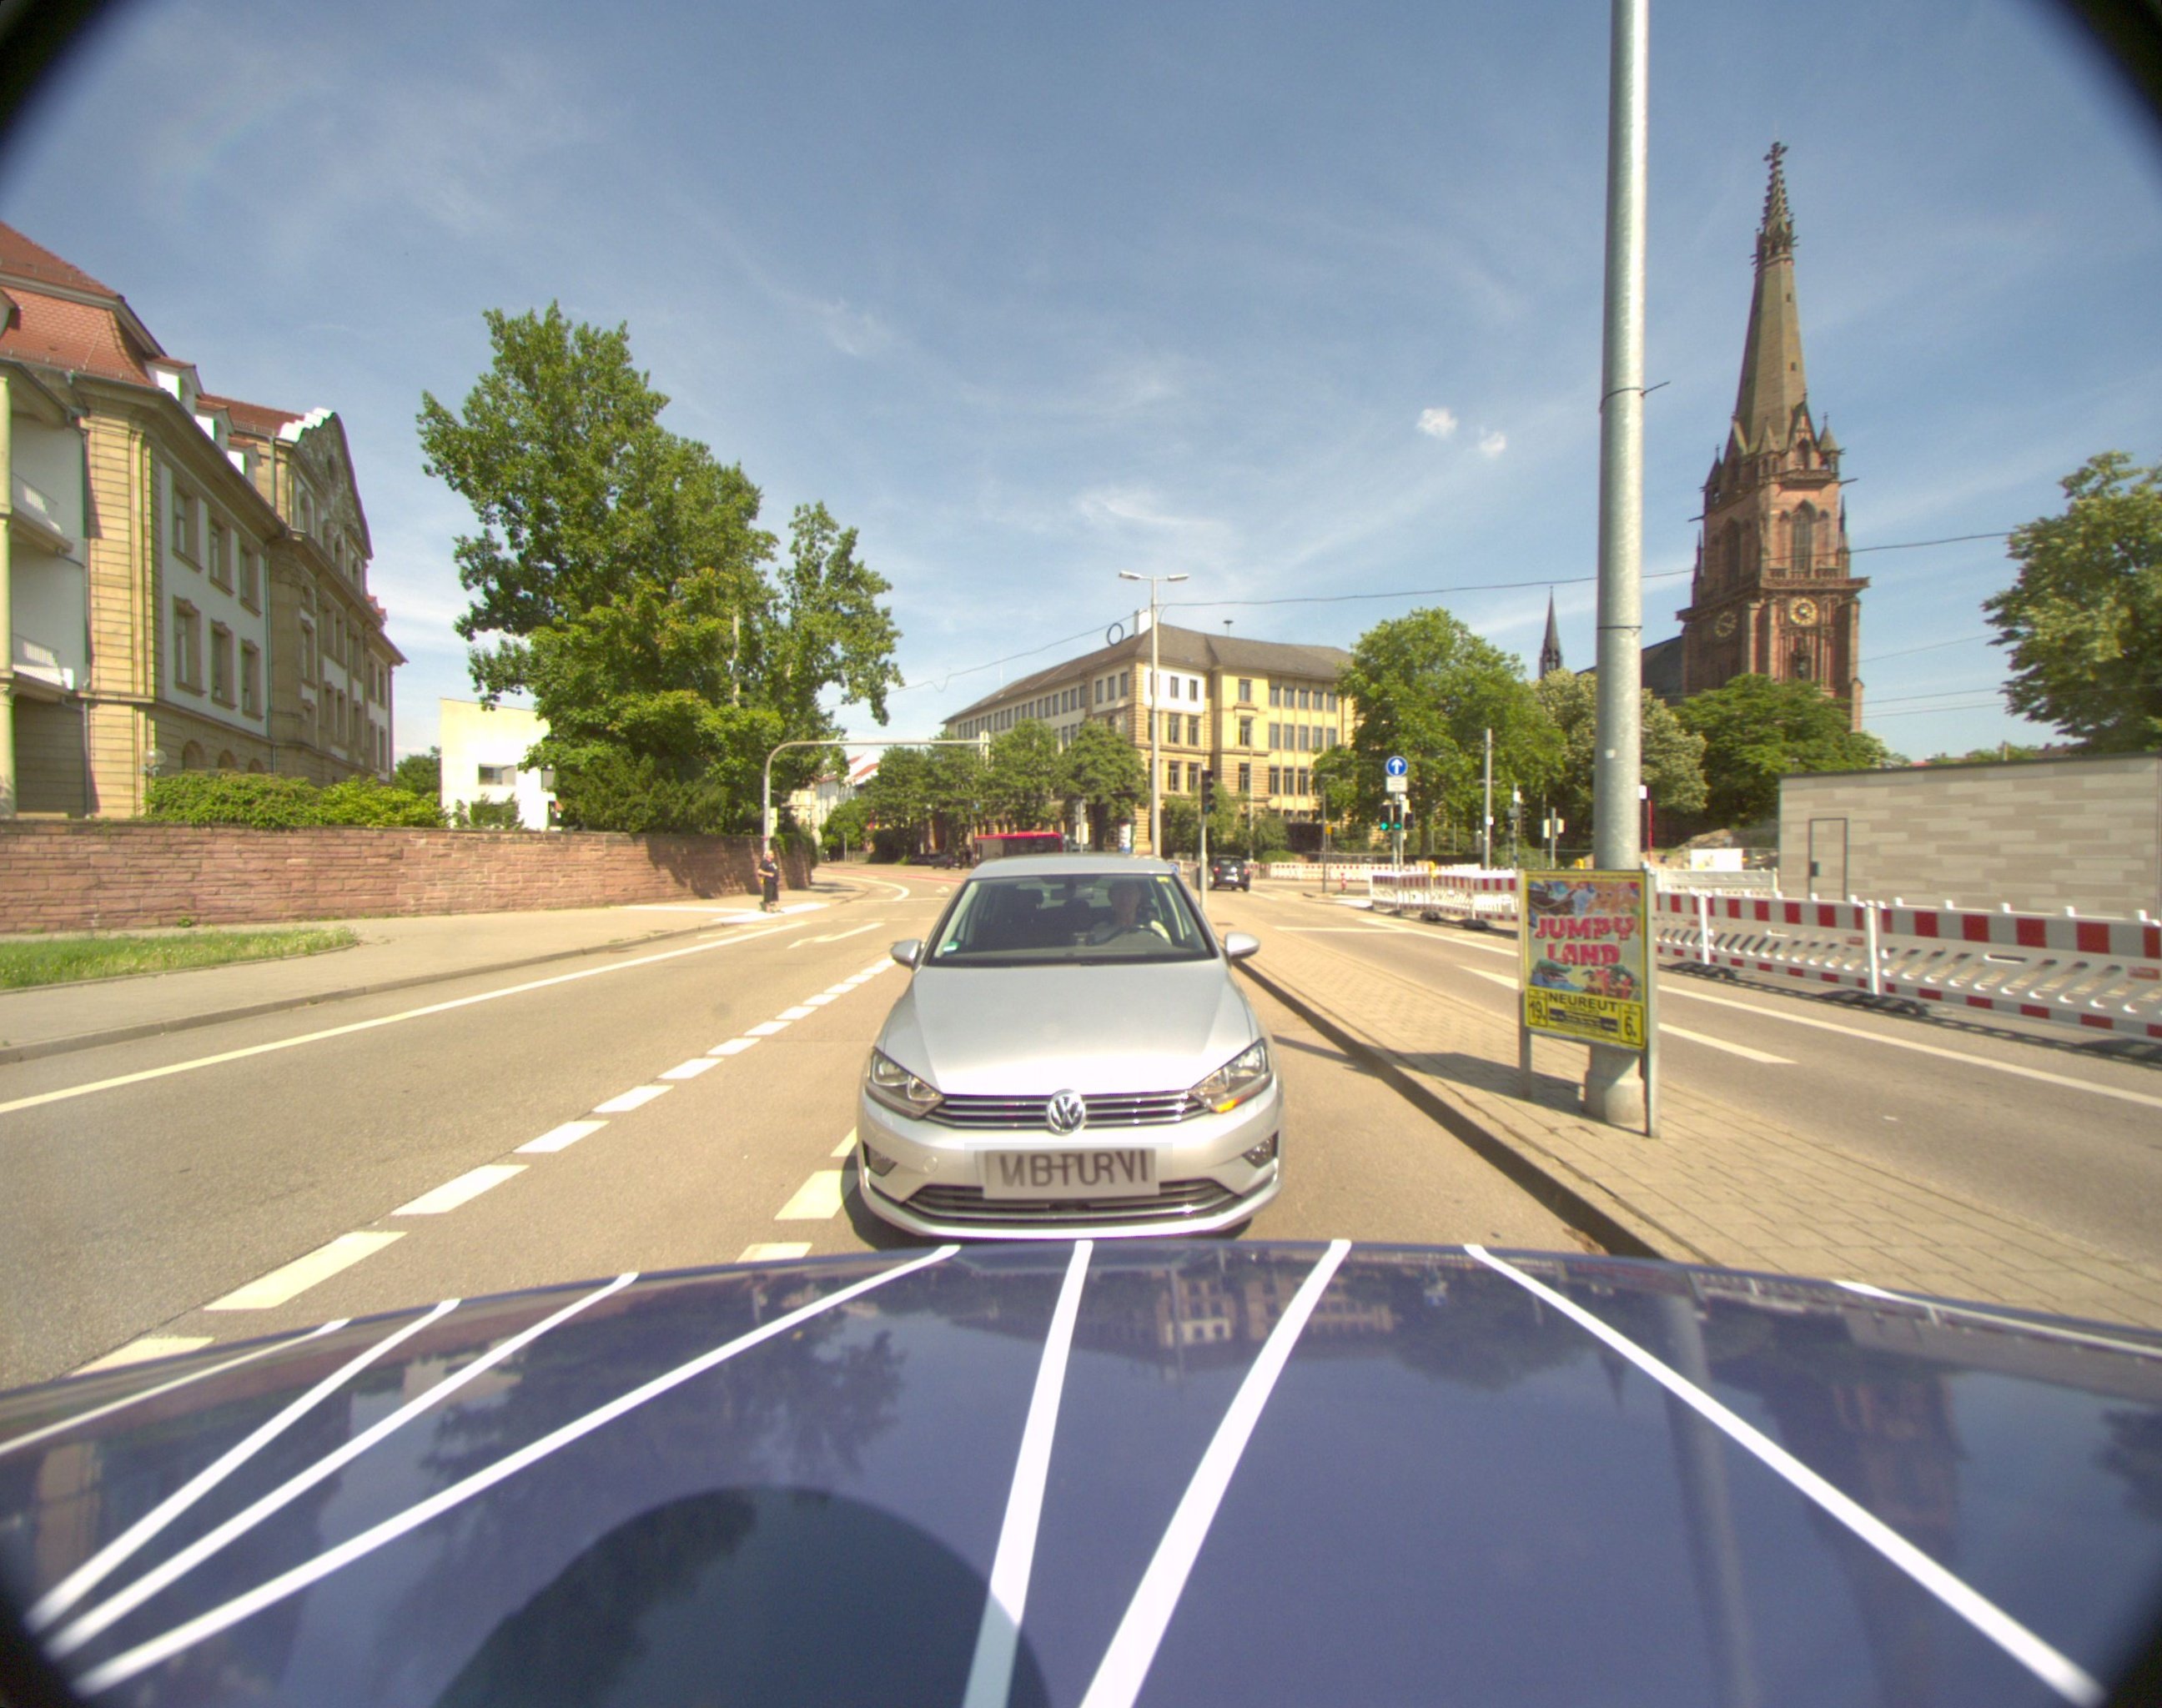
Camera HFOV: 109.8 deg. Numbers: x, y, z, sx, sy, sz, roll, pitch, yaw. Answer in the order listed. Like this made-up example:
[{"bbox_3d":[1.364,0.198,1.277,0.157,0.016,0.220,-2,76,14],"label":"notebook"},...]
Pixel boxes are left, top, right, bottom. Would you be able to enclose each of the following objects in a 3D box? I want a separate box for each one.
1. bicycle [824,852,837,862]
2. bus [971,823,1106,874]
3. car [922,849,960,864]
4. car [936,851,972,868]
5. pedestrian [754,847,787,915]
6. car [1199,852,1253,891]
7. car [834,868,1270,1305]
[{"bbox_3d":[-36.022,0.453,109.157,0.832,1.394,3.461,-3,1,-32],"label":"bicycle"},{"bbox_3d":[-3.329,-0.282,52.789,3.138,3.076,12.381,-3,1,-35],"label":"bus"},{"bbox_3d":[-17.237,0.328,93.653,4.006,1.653,1.994,-3,4,-35],"label":"car"},{"bbox_3d":[-12.329,0.536,73.556,2.003,1.608,3.990,-3,1,-31],"label":"car"},{"bbox_3d":[-9.184,0.785,22.483,0.796,2.002,0.615,0,1,-14],"label":"pedestrian"},{"bbox_3d":[6.305,0.734,33.397,1.665,1.565,3.632,1,0,0],"label":"car"},{"bbox_3d":[-0.022,0.933,5.028,1.687,1.577,4.152,0,0,3],"label":"car"}]
